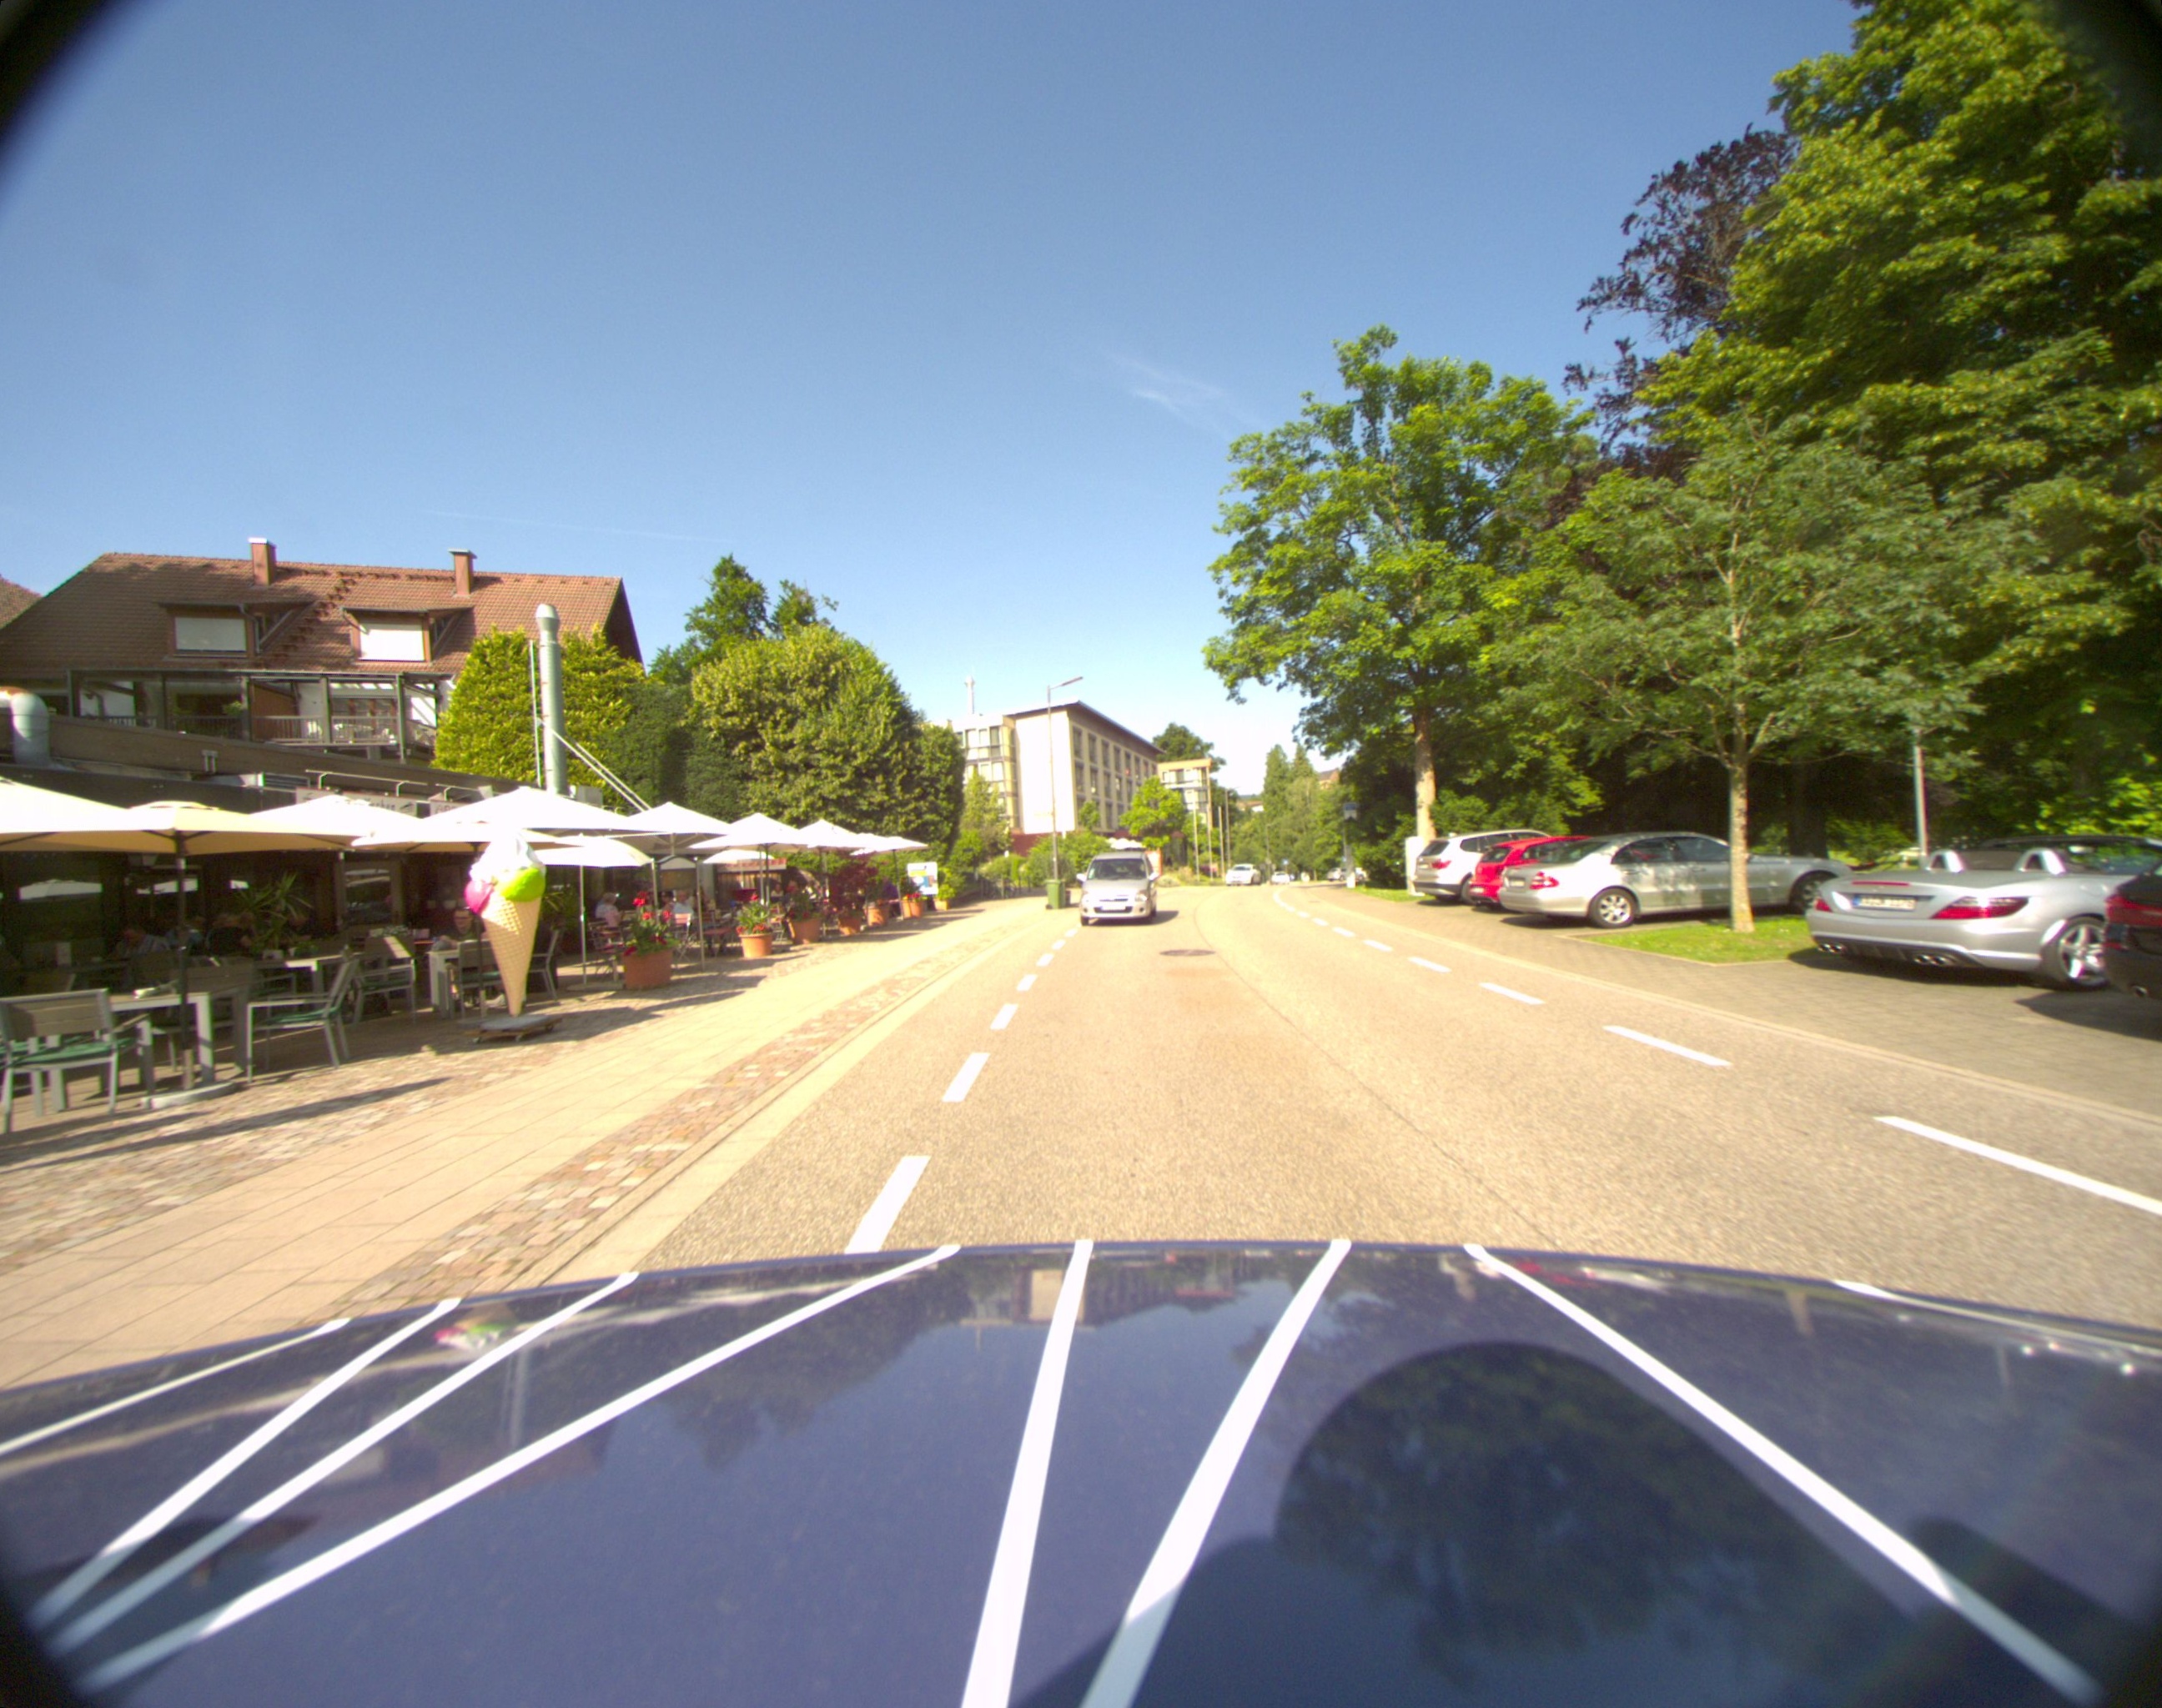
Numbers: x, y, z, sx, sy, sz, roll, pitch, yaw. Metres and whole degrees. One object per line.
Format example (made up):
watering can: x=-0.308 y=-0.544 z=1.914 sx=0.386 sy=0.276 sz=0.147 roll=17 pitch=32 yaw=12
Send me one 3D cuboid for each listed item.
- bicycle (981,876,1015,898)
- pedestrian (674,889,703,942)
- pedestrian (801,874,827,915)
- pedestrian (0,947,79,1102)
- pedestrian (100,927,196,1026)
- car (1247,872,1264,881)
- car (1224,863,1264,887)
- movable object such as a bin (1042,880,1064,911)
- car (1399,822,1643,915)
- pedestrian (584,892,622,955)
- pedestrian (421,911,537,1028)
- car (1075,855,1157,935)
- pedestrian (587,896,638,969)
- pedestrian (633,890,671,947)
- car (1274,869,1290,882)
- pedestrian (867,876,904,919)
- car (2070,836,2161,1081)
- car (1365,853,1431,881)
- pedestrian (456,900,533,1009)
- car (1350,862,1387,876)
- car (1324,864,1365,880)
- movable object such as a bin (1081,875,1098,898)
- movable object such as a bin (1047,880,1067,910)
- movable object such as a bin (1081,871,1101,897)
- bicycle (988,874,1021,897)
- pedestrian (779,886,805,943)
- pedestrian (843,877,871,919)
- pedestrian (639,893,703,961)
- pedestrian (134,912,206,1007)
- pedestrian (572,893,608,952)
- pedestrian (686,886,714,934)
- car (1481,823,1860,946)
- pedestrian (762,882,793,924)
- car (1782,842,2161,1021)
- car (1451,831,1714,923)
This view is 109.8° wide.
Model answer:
bicycle: x=-3.543 y=1.405 z=32.361 sx=1.543 sy=0.904 sz=0.385 roll=0 pitch=0 yaw=33
pedestrian: x=-9.752 y=1.523 z=18.866 sx=0.470 sy=1.258 sz=0.440 roll=-2 pitch=0 yaw=-4
pedestrian: x=-8.289 y=1.247 z=23.607 sx=0.596 sy=1.230 sz=0.507 roll=-2 pitch=0 yaw=-41
pedestrian: x=-9.521 y=1.490 z=6.609 sx=0.699 sy=1.253 sz=0.814 roll=-2 pitch=0 yaw=26
pedestrian: x=-12.593 y=1.624 z=10.263 sx=0.686 sy=1.201 sz=0.702 roll=-2 pitch=0 yaw=32
car: x=29.939 y=3.805 z=130.540 sx=1.775 sy=1.495 sz=4.000 roll=-1 pitch=-2 yaw=-2
car: x=10.988 y=1.400 z=51.006 sx=1.737 sy=1.488 sz=3.937 roll=-2 pitch=-2 yaw=25
movable object such as a bin: x=-0.853 y=1.282 z=23.551 sx=0.549 sy=0.920 sz=0.520 roll=-2 pitch=0 yaw=10
car: x=10.082 y=0.316 z=17.672 sx=4.493 sy=1.654 sz=1.810 roll=-5 pitch=1 yaw=2
pedestrian: x=-10.507 y=1.508 z=16.696 sx=0.639 sy=1.297 sz=0.579 roll=-2 pitch=0 yaw=-36
pedestrian: x=-7.202 y=1.357 z=9.126 sx=0.812 sy=1.253 sz=0.700 roll=-2 pitch=0 yaw=-9
car: x=0.946 y=0.876 z=18.188 sx=1.604 sy=1.628 sz=4.002 roll=-2 pitch=0 yaw=7
pedestrian: x=-8.752 y=1.446 z=14.185 sx=0.702 sy=1.253 sz=0.810 roll=-2 pitch=0 yaw=-36
pedestrian: x=-10.145 y=1.511 z=17.990 sx=0.531 sy=1.297 sz=0.609 roll=-1 pitch=0 yaw=-3
car: x=25.045 y=2.670 z=94.785 sx=1.738 sy=1.389 sz=4.004 roll=-2 pitch=0 yaw=12
pedestrian: x=-6.052 y=1.334 z=23.563 sx=0.950 sy=1.276 sz=0.645 roll=-2 pitch=0 yaw=-2
car: x=8.950 y=0.495 z=4.300 sx=4.505 sy=1.501 sz=1.713 roll=-4 pitch=0 yaw=-1
car: x=20.216 y=0.834 z=48.445 sx=3.681 sy=1.478 sz=1.569 roll=-5 pitch=-2 yaw=26
pedestrian: x=-8.086 y=1.354 z=10.511 sx=0.701 sy=1.373 sz=0.810 roll=-2 pitch=0 yaw=-30
car: x=36.764 y=1.913 z=97.253 sx=3.996 sy=1.468 sz=1.517 roll=-3 pitch=-3 yaw=2
car: x=28.242 y=1.950 z=81.341 sx=4.003 sy=1.388 sz=1.515 roll=-3 pitch=-3 yaw=-20
movable object such as a bin: x=0.339 y=1.278 z=30.067 sx=0.526 sy=0.906 sz=0.563 roll=-1 pitch=0 yaw=13
movable object such as a bin: x=-0.752 y=1.303 z=24.054 sx=0.515 sy=0.907 sz=0.442 roll=-2 pitch=0 yaw=10
movable object such as a bin: x=0.411 y=1.196 z=30.645 sx=0.657 sy=1.026 sz=0.572 roll=-1 pitch=0 yaw=13
bicycle: x=-3.349 y=1.375 z=33.338 sx=1.544 sy=0.977 sz=0.385 roll=-1 pitch=0 yaw=33
pedestrian: x=-6.613 y=1.366 z=17.398 sx=0.473 sy=1.238 sz=0.592 roll=-2 pitch=1 yaw=-16
pedestrian: x=-6.972 y=1.365 z=23.691 sx=0.649 sy=1.276 sz=0.645 roll=-2 pitch=0 yaw=-2
pedestrian: x=-7.979 y=1.407 z=14.804 sx=0.811 sy=1.253 sz=0.701 roll=-2 pitch=0 yaw=19
pedestrian: x=-13.483 y=1.537 z=11.250 sx=0.686 sy=1.291 sz=0.638 roll=-2 pitch=0 yaw=39
pedestrian: x=-11.144 y=1.541 z=17.242 sx=0.639 sy=1.275 sz=0.579 roll=-2 pitch=0 yaw=-36
pedestrian: x=-10.200 y=1.498 z=20.343 sx=0.409 sy=1.260 sz=0.509 roll=-1 pitch=0 yaw=10
car: x=9.309 y=0.463 z=12.382 sx=4.492 sy=1.409 sz=1.811 roll=-6 pitch=1 yaw=8
pedestrian: x=-9.188 y=1.483 z=23.029 sx=0.507 sy=1.224 sz=0.700 roll=-1 pitch=0 yaw=20
car: x=9.294 y=0.621 z=7.129 sx=3.804 sy=1.236 sz=1.762 roll=-4 pitch=0 yaw=-1
car: x=9.886 y=0.444 z=15.254 sx=3.995 sy=1.424 sz=1.720 roll=-5 pitch=0 yaw=6
